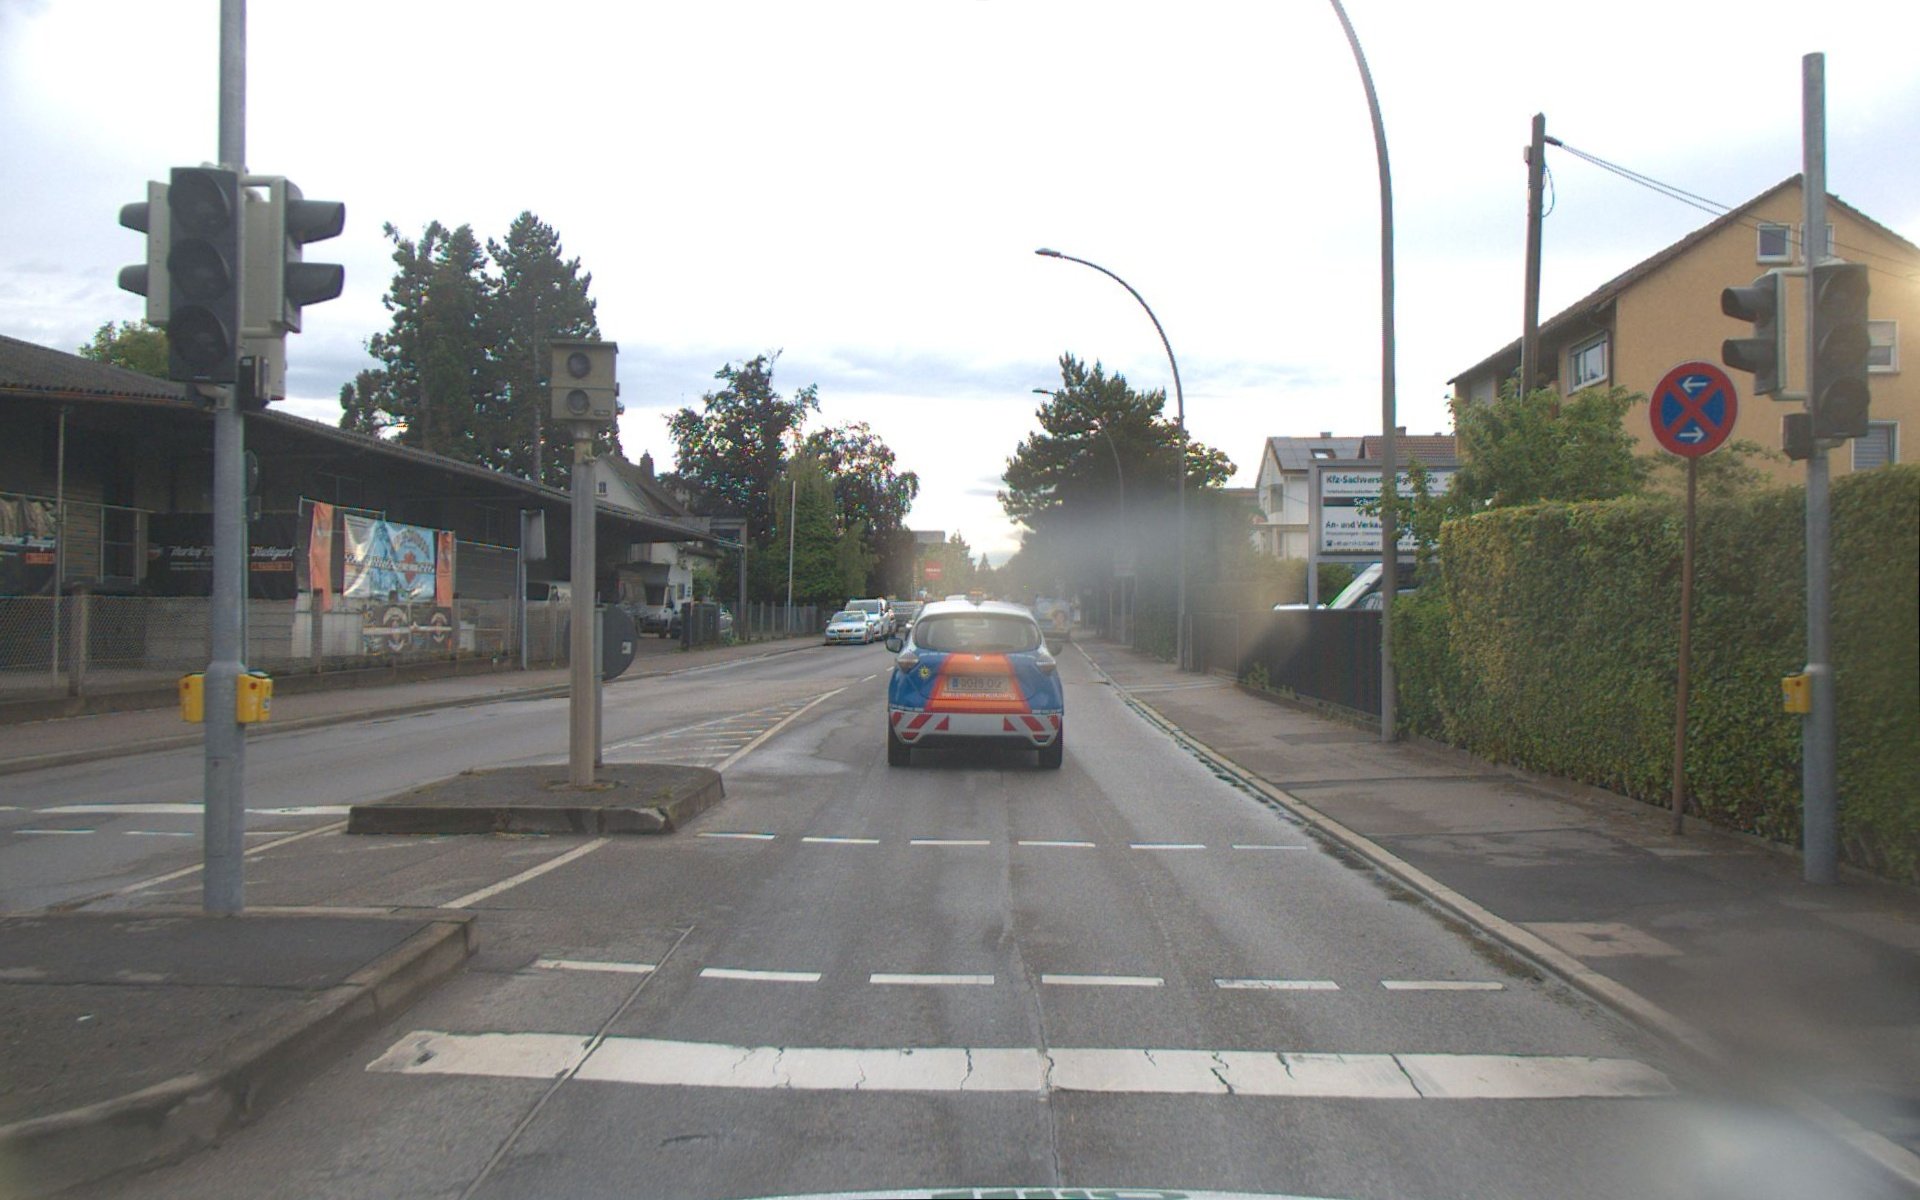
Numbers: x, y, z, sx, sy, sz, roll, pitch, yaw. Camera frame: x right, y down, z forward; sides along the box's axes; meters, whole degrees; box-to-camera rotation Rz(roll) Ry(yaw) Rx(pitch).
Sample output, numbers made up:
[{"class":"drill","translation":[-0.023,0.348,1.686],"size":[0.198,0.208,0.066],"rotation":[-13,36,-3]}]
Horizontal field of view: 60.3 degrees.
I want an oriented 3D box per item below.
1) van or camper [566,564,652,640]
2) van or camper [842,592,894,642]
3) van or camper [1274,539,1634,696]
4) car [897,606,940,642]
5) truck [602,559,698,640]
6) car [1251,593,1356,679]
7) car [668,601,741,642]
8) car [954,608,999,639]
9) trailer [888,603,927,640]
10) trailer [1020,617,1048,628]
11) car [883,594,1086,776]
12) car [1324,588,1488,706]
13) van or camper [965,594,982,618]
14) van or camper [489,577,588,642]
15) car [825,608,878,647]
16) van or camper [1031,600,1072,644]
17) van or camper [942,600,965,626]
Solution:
[{"class":"van or camper","translation":[-12.779,0.142,60.549],"size":[1.821,2.480,5.233],"rotation":[3,-2,1]},{"class":"van or camper","translation":[-4.191,0.817,75.843],"size":[1.851,2.049,5.097],"rotation":[3,-2,2]},{"class":"van or camper","translation":[8.673,0.337,29.434],"size":[5.781,2.529,2.132],"rotation":[1,-3,2]},{"class":"car","translation":[-1.917,1.141,77.496],"size":[1.706,1.477,4.542],"rotation":[3,-2,1]},{"class":"truck","translation":[-12.331,0.057,66.264],"size":[2.345,2.978,5.958],"rotation":[2,-1,2]},{"class":"car","translation":[7.720,0.869,36.927],"size":[2.076,1.679,5.239],"rotation":[2,-2,13]},{"class":"car","translation":[-9.884,0.860,64.333],"size":[1.896,1.469,4.783],"rotation":[1,-1,2]},{"class":"car","translation":[0.856,1.124,81.348],"size":[1.951,1.445,4.002],"rotation":[0,0,4]},{"class":"trailer","translation":[-3.258,1.362,103.006],"size":[2.175,2.049,4.436],"rotation":[3,-2,1]},{"class":"trailer","translation":[5.213,1.564,116.208],"size":[1.898,0.767,2.859],"rotation":[0,0,1]},{"class":"car","translation":[0.234,0.781,17.102],"size":[1.850,1.660,4.000],"rotation":[0,0,0]},{"class":"car","translation":[6.819,0.766,25.722],"size":[1.626,1.594,4.568],"rotation":[2,-2,5]},{"class":"van or camper","translation":[1.630,0.766,197.905],"size":[1.952,2.823,5.441],"rotation":[0,0,1]},{"class":"van or camper","translation":[-13.606,0.331,53.678],"size":[1.953,1.942,4.471],"rotation":[3,-1,0]},{"class":"car","translation":[-4.529,1.177,69.302],"size":[1.706,1.506,4.184],"rotation":[-1,-3,3]},{"class":"van or camper","translation":[4.097,0.977,74.258],"size":[1.718,1.916,4.000],"rotation":[0,0,1]},{"class":"van or camper","translation":[-0.592,1.241,157.568],"size":[2.116,2.395,4.334],"rotation":[0,0,1]}]
